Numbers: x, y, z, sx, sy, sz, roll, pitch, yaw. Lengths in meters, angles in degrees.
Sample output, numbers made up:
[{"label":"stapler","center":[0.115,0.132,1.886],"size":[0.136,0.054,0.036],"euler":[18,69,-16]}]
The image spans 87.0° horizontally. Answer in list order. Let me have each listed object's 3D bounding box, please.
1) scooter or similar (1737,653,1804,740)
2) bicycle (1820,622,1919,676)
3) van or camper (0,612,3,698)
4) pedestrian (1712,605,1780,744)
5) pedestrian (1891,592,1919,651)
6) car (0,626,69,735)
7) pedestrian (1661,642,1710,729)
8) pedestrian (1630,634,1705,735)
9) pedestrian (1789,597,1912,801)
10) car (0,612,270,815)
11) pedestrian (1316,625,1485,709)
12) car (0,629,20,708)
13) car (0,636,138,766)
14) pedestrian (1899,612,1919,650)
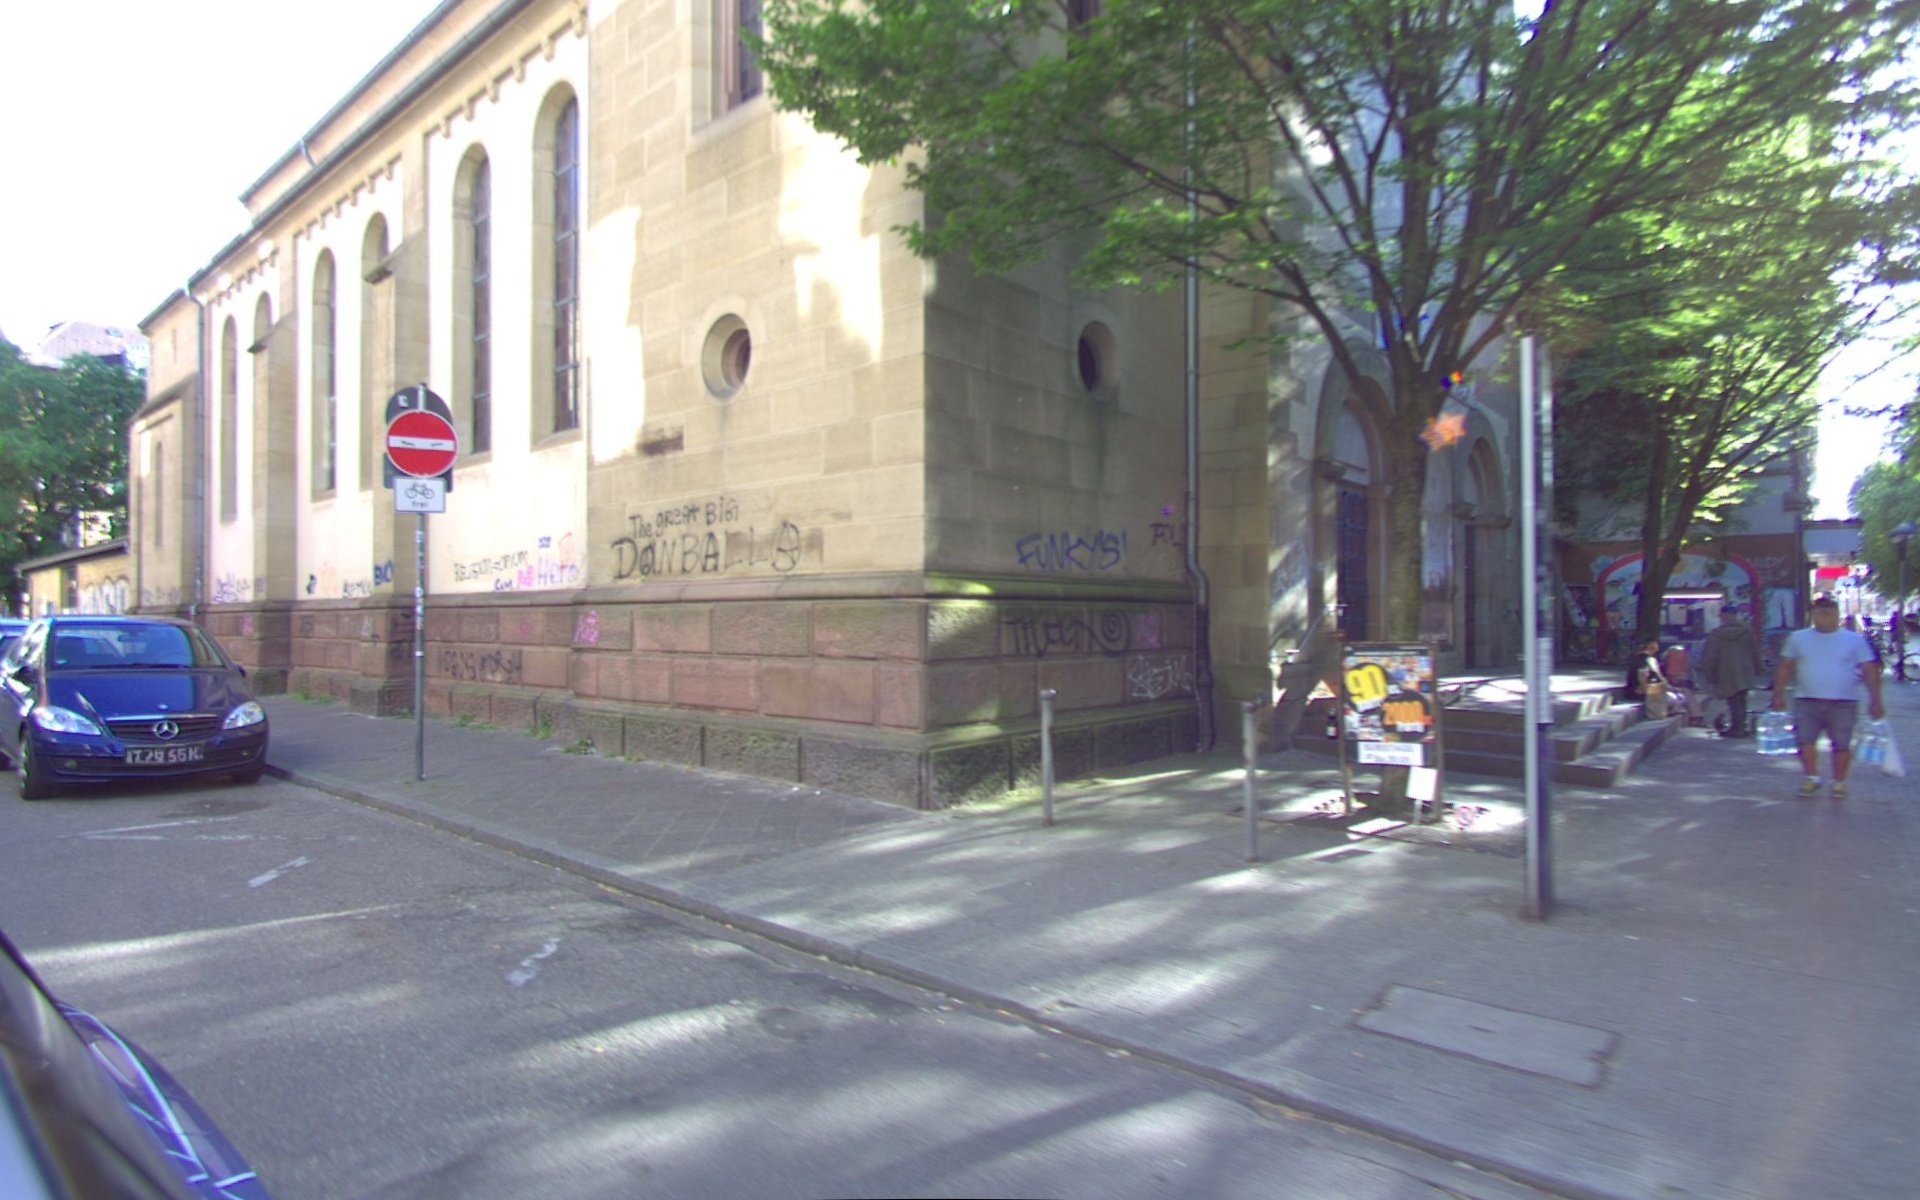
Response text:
[{"label":"scooter or similar","center":[10.186,1.194,12.717],"size":[0.721,1.013,0.506],"euler":[0,0,-39]},{"label":"bicycle","center":[22.603,1.207,25.108],"size":[1.926,1.276,0.517],"euler":[-1,0,40]},{"label":"van or camper","center":[-24.148,1.289,23.806],"size":[4.561,1.966,1.958],"euler":[-1,-1,41]},{"label":"pedestrian","center":[9.592,0.886,12.368],"size":[0.548,1.644,0.555],"euler":[-1,0,28]},{"label":"pedestrian","center":[38.126,0.851,40.850],"size":[0.729,2.335,0.755],"euler":[-1,0,37]},{"label":"car","center":[-16.021,1.260,16.566],"size":[3.999,1.579,1.702],"euler":[-1,0,42]},{"label":"pedestrian","center":[9.848,1.144,13.729],"size":[0.490,1.116,0.608],"euler":[-1,0,40]},{"label":"pedestrian","center":[9.237,1.083,13.210],"size":[0.741,1.241,0.607],"euler":[-1,0,40]},{"label":"pedestrian","center":[7.341,0.781,8.372],"size":[0.714,1.605,0.474],"euler":[-1,0,38]},{"label":"car","center":[-8.335,0.909,9.854],"size":[3.832,1.564,1.775],"euler":[-1,0,41]},{"label":"pedestrian","center":[4.571,0.661,10.519],"size":[1.406,0.766,0.947],"euler":[-1,0,41]},{"label":"car","center":[-20.036,1.341,20.059],"size":[3.735,1.492,1.674],"euler":[-1,-1,41]},{"label":"car","center":[-12.125,1.215,13.224],"size":[4.145,1.374,1.556],"euler":[-1,0,42]},{"label":"pedestrian","center":[43.426,1.407,46.183],"size":[0.729,1.750,0.754],"euler":[-2,-2,39]}]
